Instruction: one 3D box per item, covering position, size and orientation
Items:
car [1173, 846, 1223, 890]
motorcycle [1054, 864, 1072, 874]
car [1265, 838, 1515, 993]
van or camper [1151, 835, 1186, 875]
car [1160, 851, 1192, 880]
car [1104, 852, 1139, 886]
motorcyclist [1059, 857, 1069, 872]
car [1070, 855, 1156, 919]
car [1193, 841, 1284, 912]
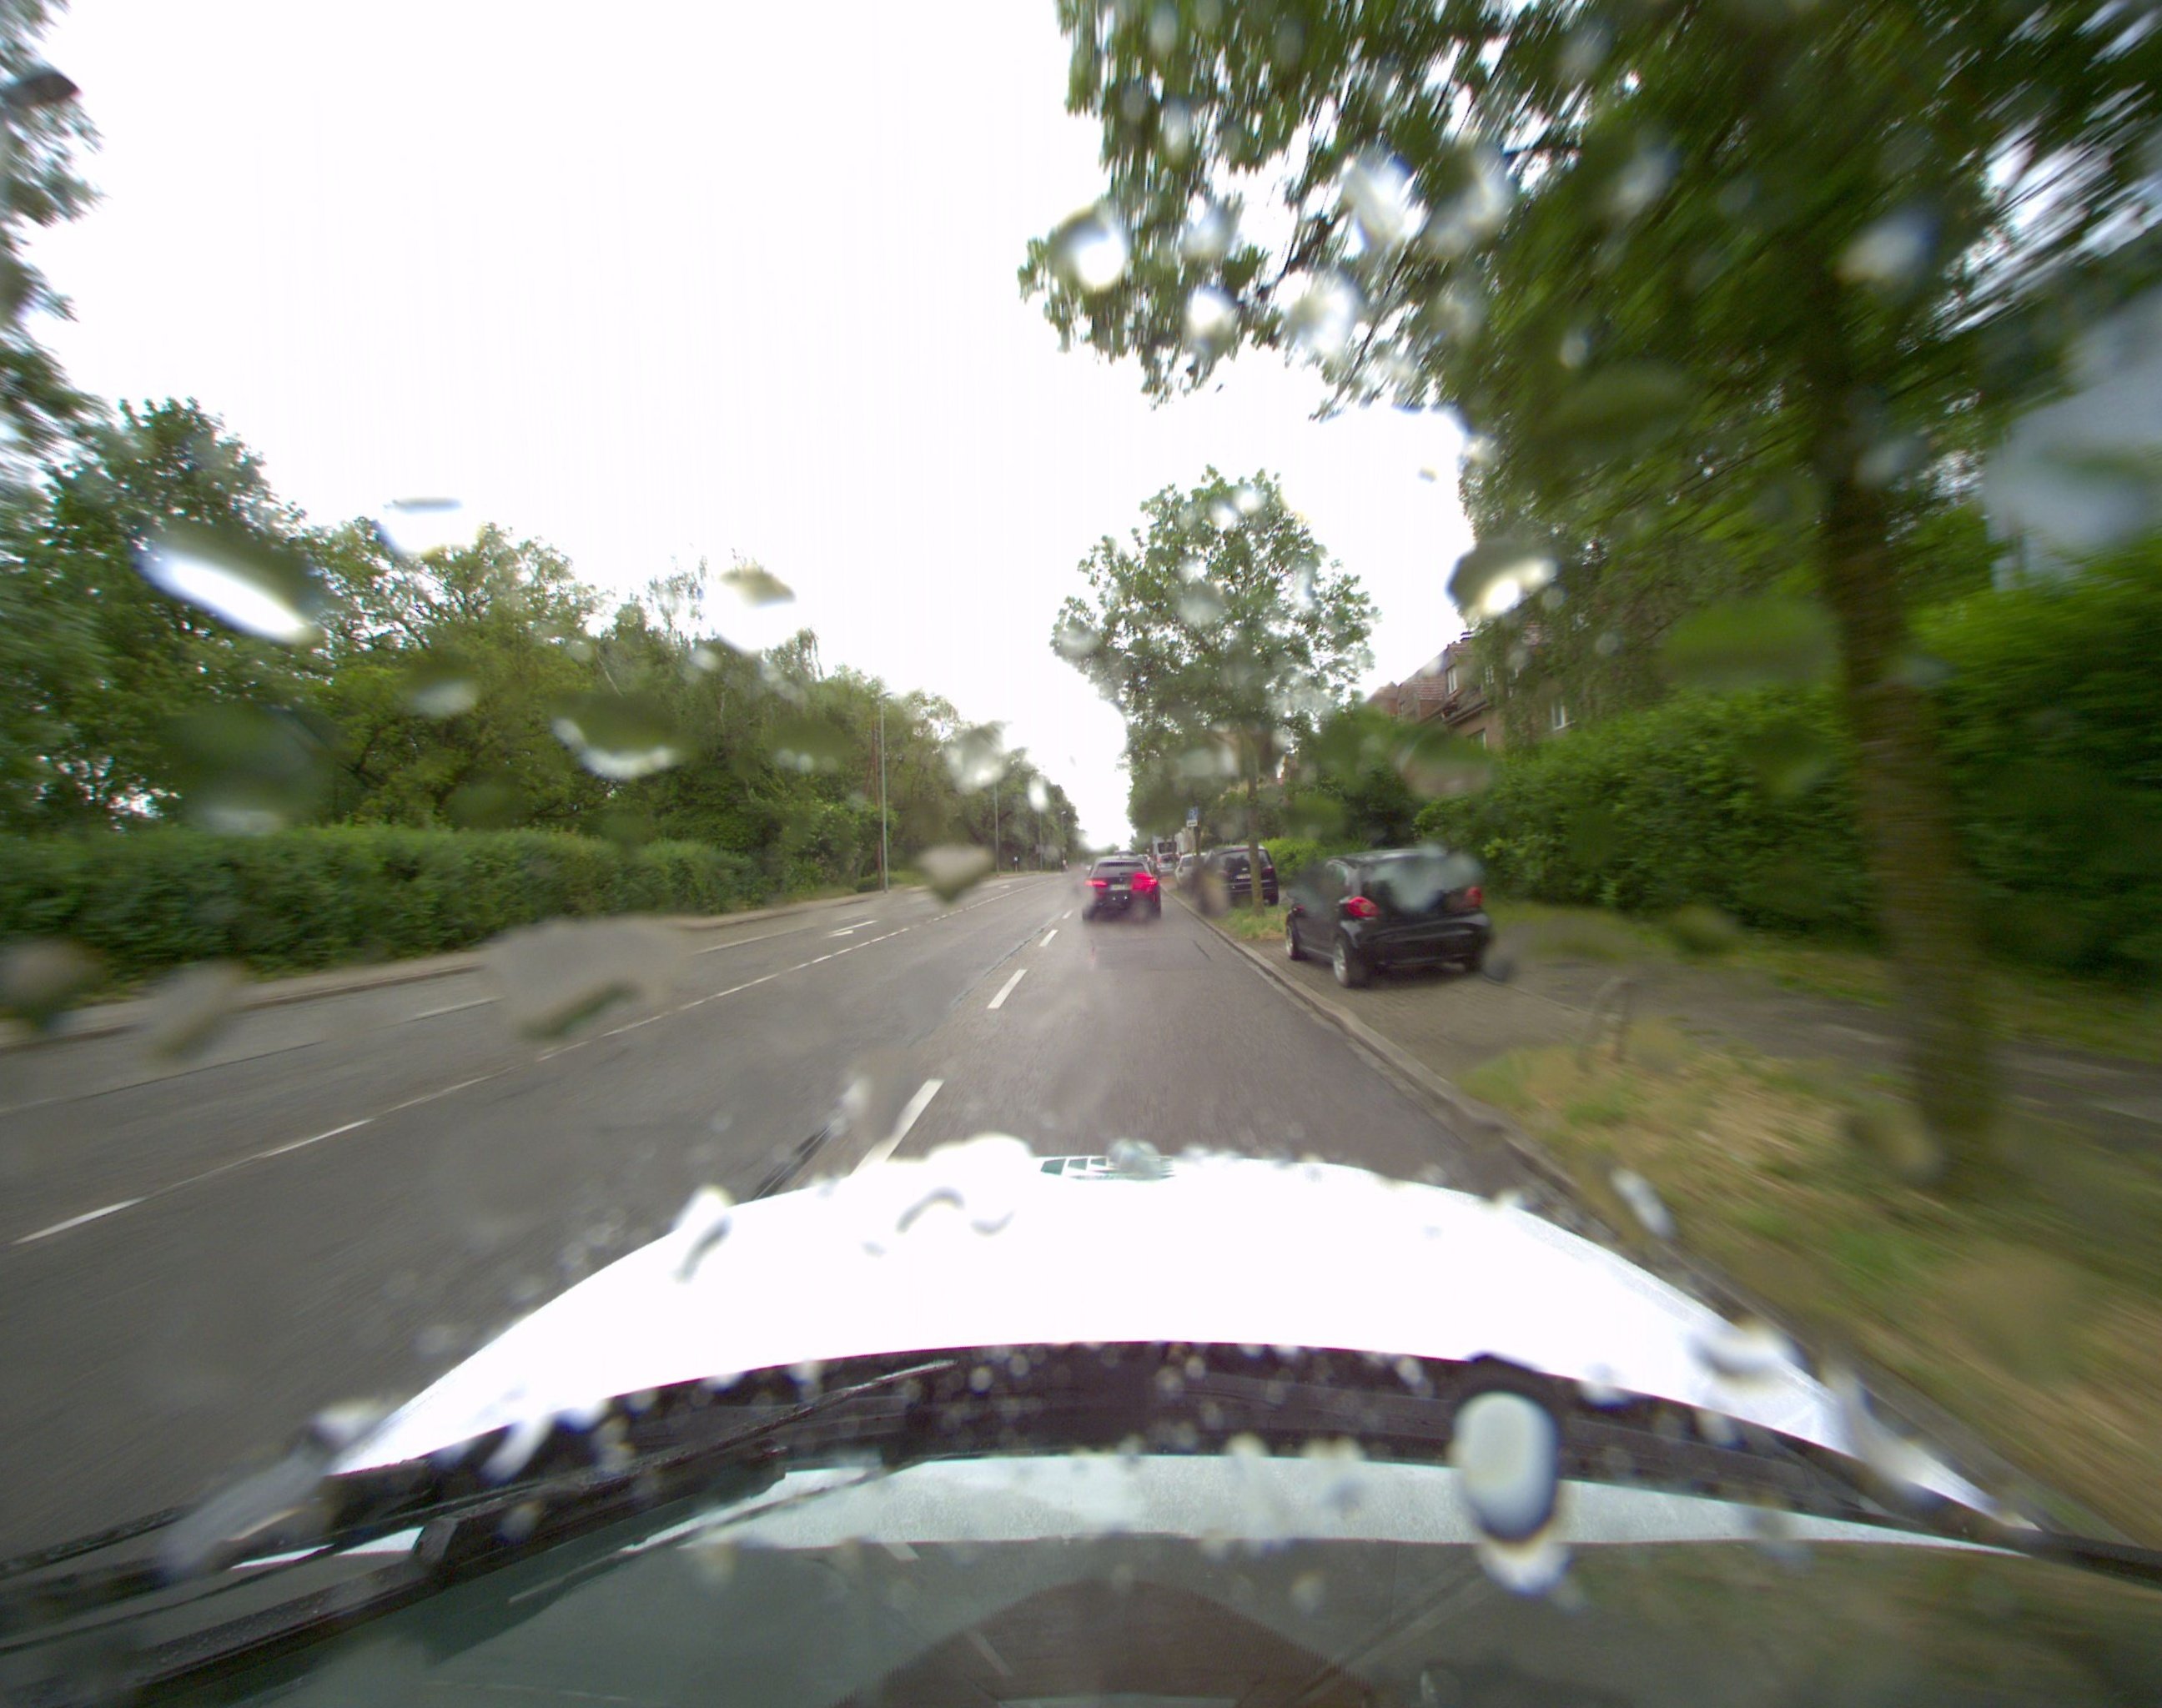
[{"bbox_3d":[4.799,0.549,33.886,1.815,1.603,4.482,-4,0,7],"label":"car"},{"bbox_3d":[-2.064,1.771,94.265,2.162,1.118,0.829,-1,-1,45],"label":"motorcycle"},{"bbox_3d":[3.644,0.639,10.374,1.716,1.512,3.786,-3,0,1],"label":"car"},{"bbox_3d":[6.439,0.089,60.767,2.188,2.651,7.310,-4,0,4],"label":"van or camper"},{"bbox_3d":[5.684,0.666,48.883,1.660,1.528,3.838,-5,-1,6],"label":"car"},{"bbox_3d":[2.567,0.939,50.531,1.984,2.014,4.004,-2,-1,4],"label":"car"},{"bbox_3d":[-1.967,1.239,94.171,0.643,1.681,0.818,-1,-1,45],"label":"motorcyclist"},{"bbox_3d":[0.817,0.802,20.789,1.986,1.453,4.002,0,-1,2],"label":"car"},{"bbox_3d":[4.311,0.582,22.979,1.816,1.678,4.588,-4,0,3],"label":"car"}]
